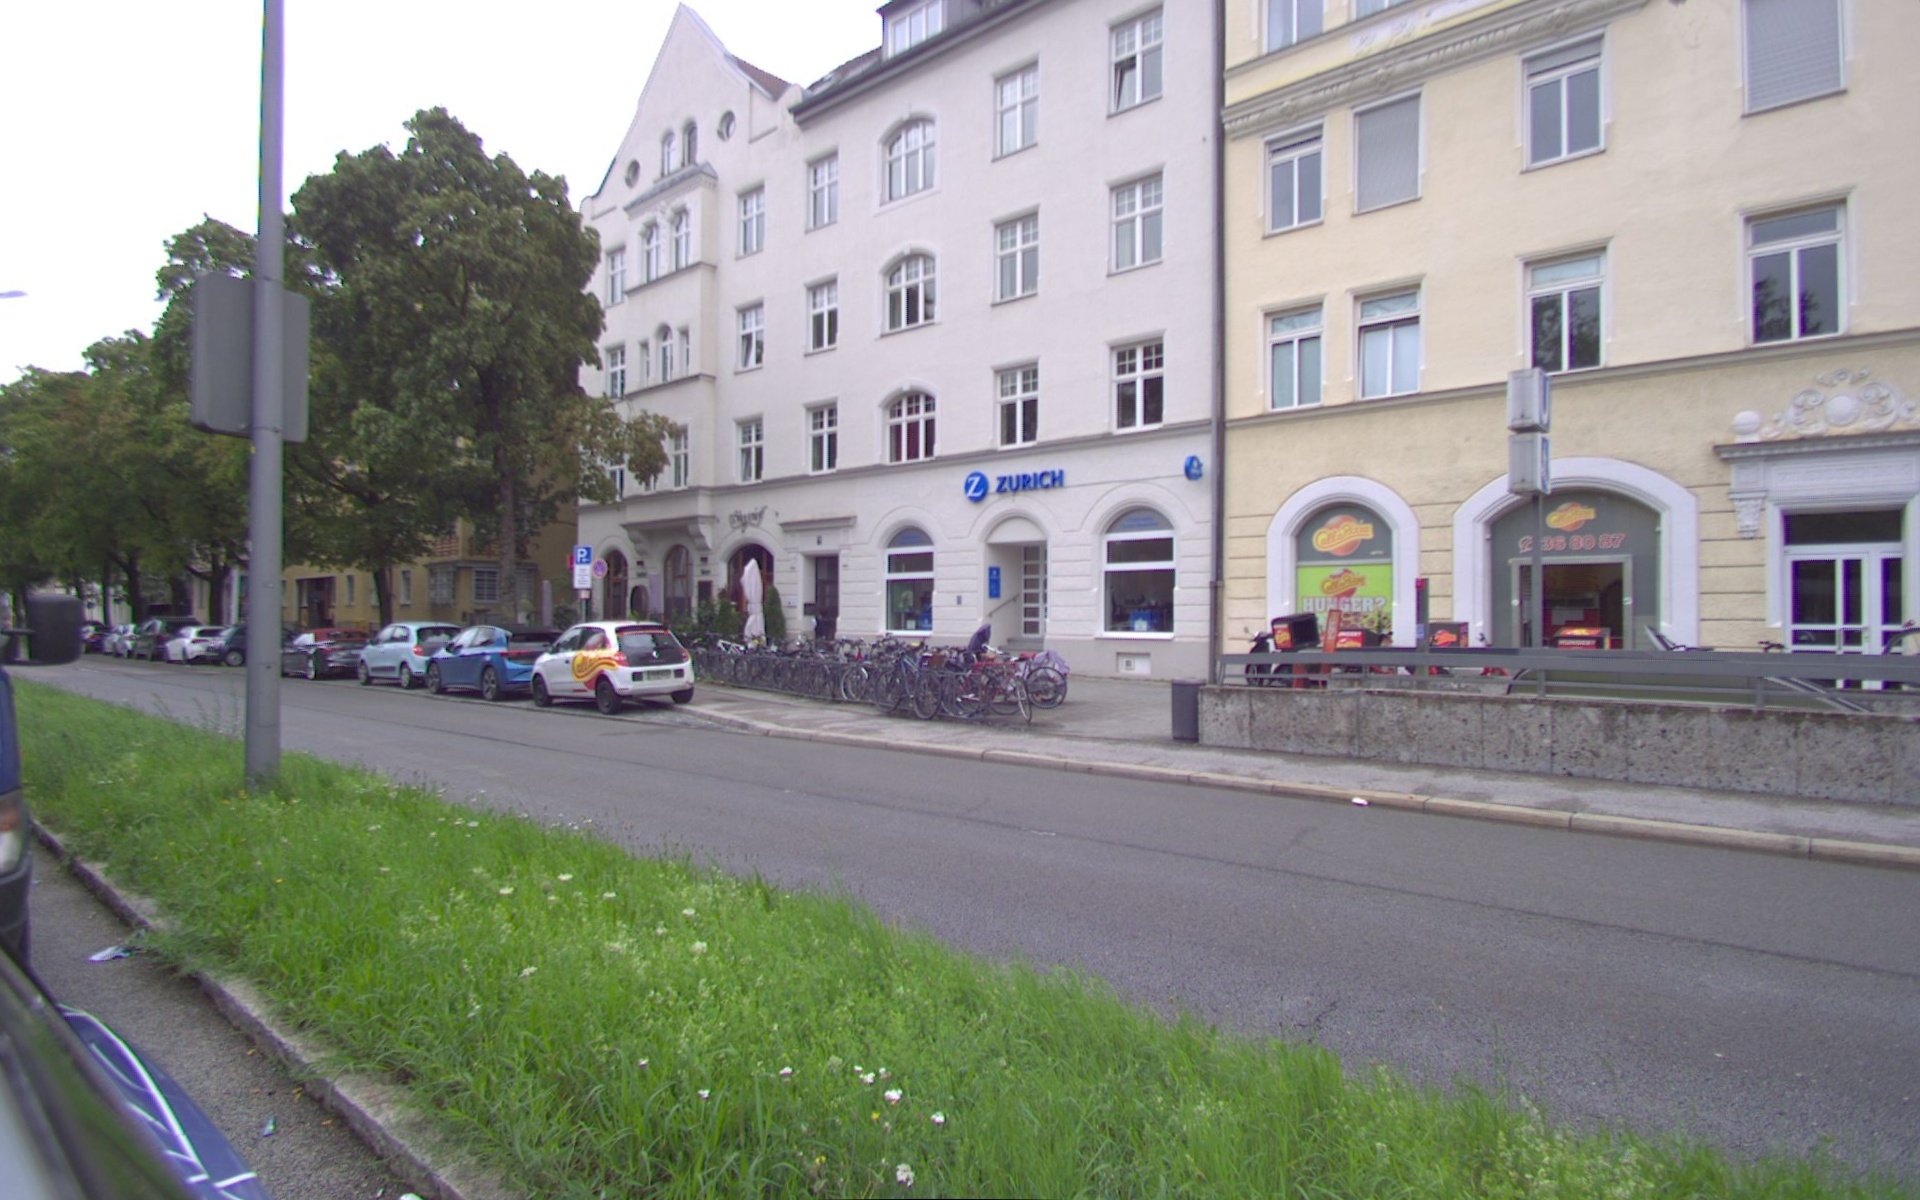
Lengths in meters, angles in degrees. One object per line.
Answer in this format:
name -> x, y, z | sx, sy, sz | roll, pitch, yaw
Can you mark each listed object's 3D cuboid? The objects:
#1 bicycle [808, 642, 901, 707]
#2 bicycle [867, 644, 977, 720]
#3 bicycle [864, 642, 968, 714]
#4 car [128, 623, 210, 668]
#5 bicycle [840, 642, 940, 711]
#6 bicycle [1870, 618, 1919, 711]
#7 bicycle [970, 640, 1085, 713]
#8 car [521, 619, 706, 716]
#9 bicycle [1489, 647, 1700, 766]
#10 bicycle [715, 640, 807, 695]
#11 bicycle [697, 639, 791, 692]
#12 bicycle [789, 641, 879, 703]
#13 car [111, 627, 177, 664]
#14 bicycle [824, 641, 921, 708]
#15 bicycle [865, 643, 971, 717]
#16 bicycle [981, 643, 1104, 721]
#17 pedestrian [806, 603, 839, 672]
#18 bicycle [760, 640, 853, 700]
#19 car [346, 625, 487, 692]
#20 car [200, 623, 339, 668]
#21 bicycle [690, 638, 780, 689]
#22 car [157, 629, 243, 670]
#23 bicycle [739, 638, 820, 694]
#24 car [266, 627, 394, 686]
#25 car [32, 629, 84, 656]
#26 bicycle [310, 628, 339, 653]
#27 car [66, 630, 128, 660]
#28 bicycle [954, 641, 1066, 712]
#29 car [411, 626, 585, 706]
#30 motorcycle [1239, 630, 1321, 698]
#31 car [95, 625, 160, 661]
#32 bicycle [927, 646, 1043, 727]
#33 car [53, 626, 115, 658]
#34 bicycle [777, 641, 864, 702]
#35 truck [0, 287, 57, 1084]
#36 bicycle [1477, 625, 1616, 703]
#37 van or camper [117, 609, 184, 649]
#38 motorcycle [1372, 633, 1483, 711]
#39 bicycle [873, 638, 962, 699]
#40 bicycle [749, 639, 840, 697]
bicycle -> -1.899, 1.314, 18.099 | 1.667, 1.124, 0.328 | -1, -2, 18
bicycle -> -0.583, 1.243, 15.513 | 1.667, 1.124, 0.366 | -1, -2, 18
bicycle -> -0.723, 1.250, 16.393 | 1.667, 1.124, 0.365 | -1, -2, 18
car -> -32.632, 1.828, 41.692 | 4.765, 1.741, 1.791 | -1, -2, 41
bicycle -> -1.181, 1.273, 16.992 | 1.667, 1.124, 0.328 | -1, -2, 18
bicycle -> 10.653, 0.686, 10.670 | 1.544, 0.988, 0.468 | -1, -2, 41
bicycle -> 1.074, 1.210, 16.157 | 1.799, 1.124, 0.394 | -1, -2, 18
car -> -6.421, 1.153, 18.570 | 3.790, 1.597, 1.631 | -1, -2, 43
bicycle -> 6.513, 1.060, 10.473 | 1.808, 1.124, 0.392 | -1, -2, 33
bicycle -> -4.226, 1.425, 21.502 | 1.860, 1.124, 0.548 | -1, -1, 10
bicycle -> -4.718, 1.422, 22.115 | 1.966, 1.124, 0.503 | -1, -1, 10
bicycle -> -2.334, 1.321, 18.731 | 1.667, 1.124, 0.328 | -1, -2, 18
car -> -36.154, 2.002, 44.819 | 3.007, 1.569, 1.710 | -1, -2, 39
bicycle -> -1.515, 1.276, 17.520 | 1.667, 1.124, 0.380 | -1, -2, 18
bicycle -> -0.671, 1.246, 15.954 | 1.667, 1.124, 0.328 | -1, -2, 18
bicycle -> 1.229, 1.215, 15.157 | 1.799, 1.124, 0.394 | -1, -2, 18
pedestrian -> -3.310, 0.893, 24.270 | 0.416, 1.644, 0.784 | 1, -2, -43
bicycle -> -3.010, 1.358, 19.825 | 1.859, 1.124, 0.328 | -1, -2, 18
car -> -13.416, 1.375, 24.915 | 3.958, 1.518, 1.792 | -1, -2, 41
car -> -25.060, 1.606, 36.814 | 1.730, 1.475, 3.851 | -1, -1, 39
bicycle -> -5.050, 1.410, 22.712 | 1.944, 1.124, 0.457 | -1, -1, 10
car -> -28.623, 1.820, 38.062 | 4.401, 1.413, 1.708 | -1, -2, 41
bicycle -> -3.734, 1.362, 20.954 | 1.664, 1.124, 0.329 | -1, -1, 14
car -> -17.869, 1.533, 28.621 | 4.643, 1.518, 1.792 | -1, -2, 41
car -> -51.957, 2.432, 58.255 | 4.490, 1.465, 1.674 | -1, -2, 41
bicycle -> -33.211, 2.103, 52.889 | 1.929, 1.231, 0.762 | -1, -2, 41
car -> -43.021, 2.220, 50.423 | 4.361, 1.416, 1.709 | -1, -2, 41
bicycle -> 0.816, 1.244, 16.712 | 1.799, 1.124, 0.394 | -1, -2, 18
car -> -9.937, 1.323, 21.617 | 4.289, 1.518, 1.792 | -1, -2, 41
motorcycle -> 5.876, 1.146, 18.719 | 0.600, 1.139, 1.991 | 0, -1, -9
car -> -39.022, 1.985, 47.431 | 4.055, 1.573, 1.709 | -1, -2, 41
bicycle -> 0.357, 1.239, 14.695 | 1.667, 1.124, 0.328 | -1, -2, 18
car -> -47.190, 2.237, 54.486 | 4.768, 1.658, 1.859 | -1, -2, 41
bicycle -> -2.670, 1.342, 19.278 | 1.667, 1.124, 0.328 | -1, -2, 18
truck -> -5.517, 0.295, 4.232 | 5.148, 2.508, 1.973 | -1, -2, 41
bicycle -> 7.838, 0.831, 13.573 | 1.544, 0.988, 0.468 | -1, -2, 41
van or camper -> -54.904, 1.951, 68.603 | 6.847, 2.599, 2.321 | -1, -2, 41
motorcycle -> 7.542, 1.133, 16.438 | 0.600, 1.130, 1.991 | 0, -1, -9
bicycle -> -0.811, 1.287, 19.176 | 1.667, 1.124, 0.328 | -1, -2, 18
bicycle -> -3.331, 1.359, 20.343 | 1.859, 1.124, 0.328 | -1, -2, 18
